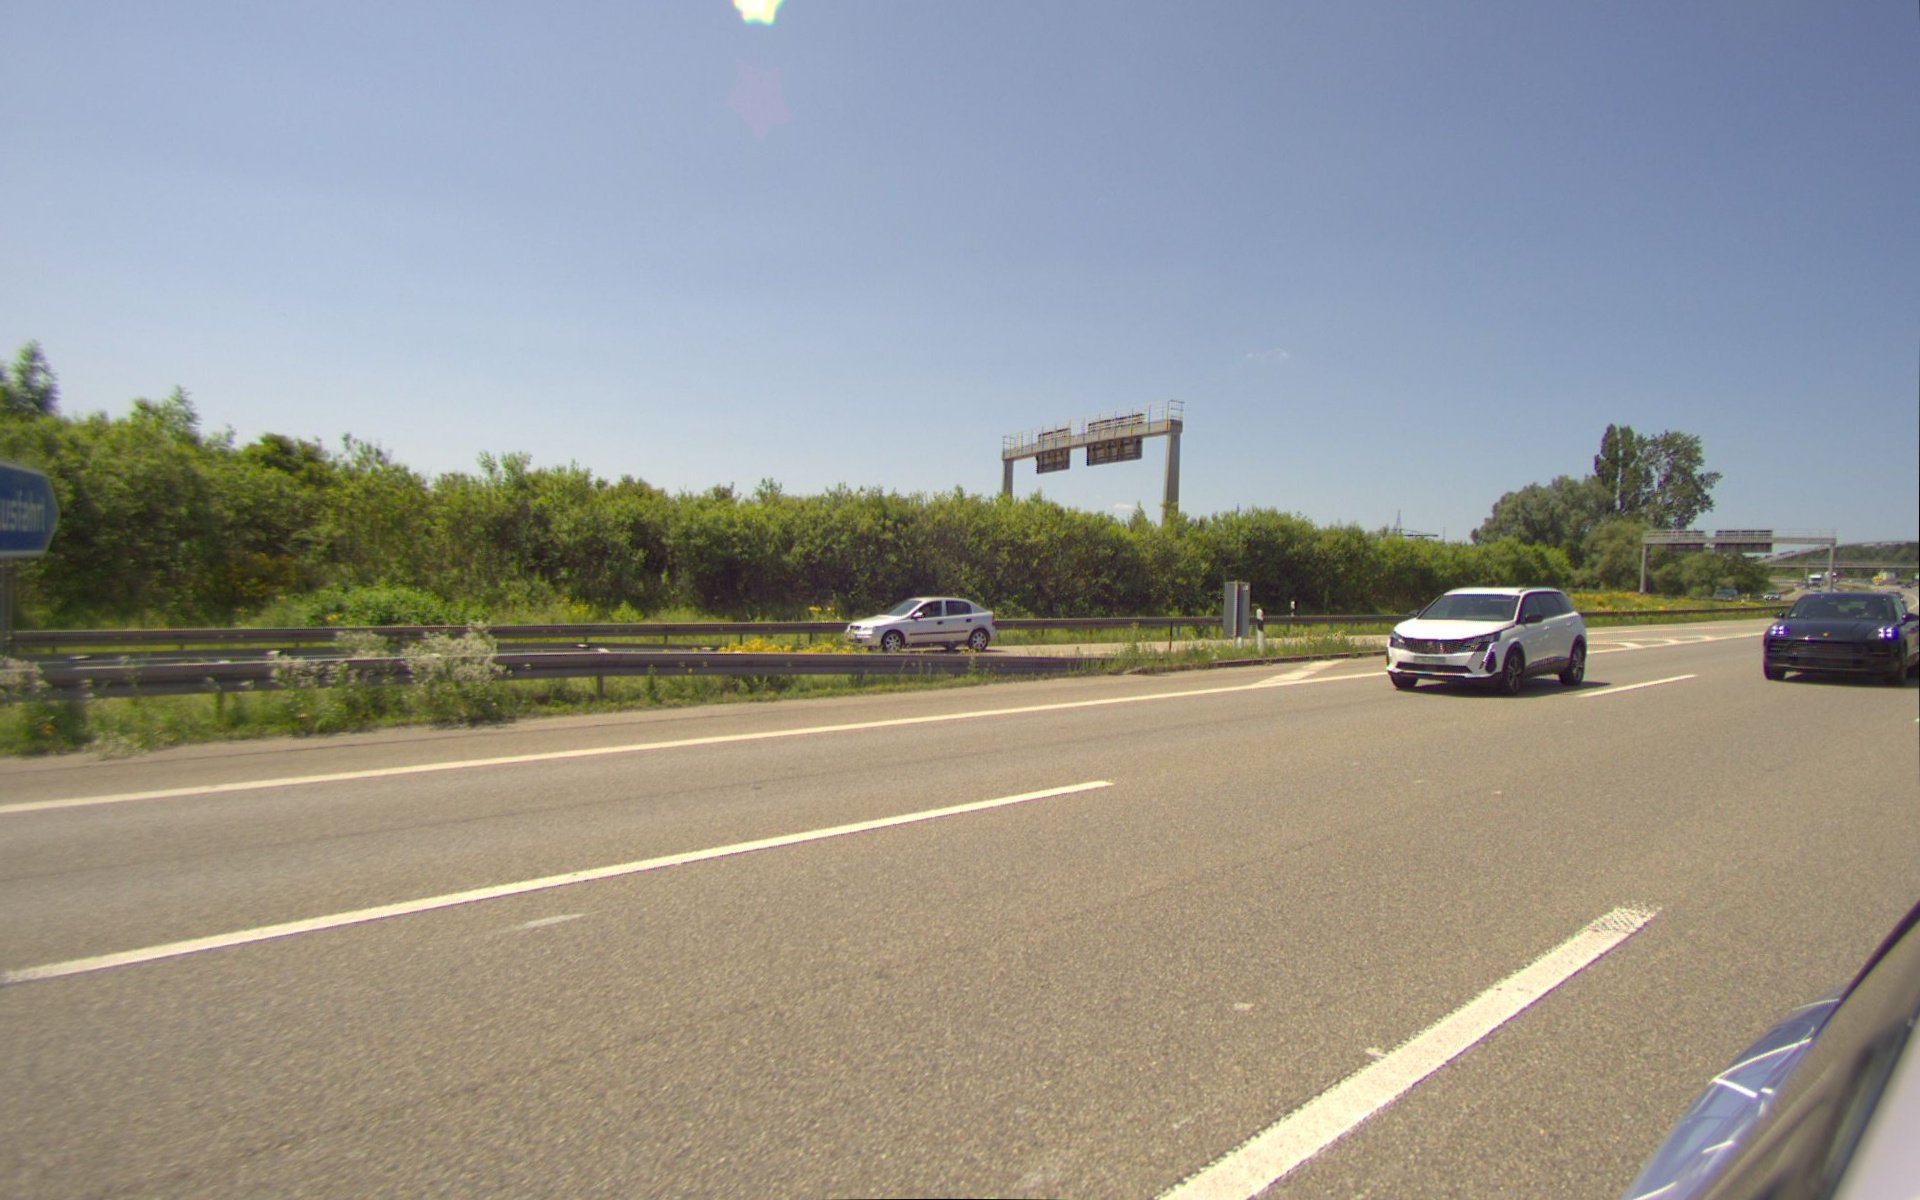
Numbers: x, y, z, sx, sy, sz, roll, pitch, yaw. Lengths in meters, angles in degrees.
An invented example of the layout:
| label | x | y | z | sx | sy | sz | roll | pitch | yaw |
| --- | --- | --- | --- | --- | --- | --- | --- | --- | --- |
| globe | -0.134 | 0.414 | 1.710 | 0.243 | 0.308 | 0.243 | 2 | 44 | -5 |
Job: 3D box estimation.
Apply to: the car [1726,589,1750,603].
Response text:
| label | x | y | z | sx | sy | sz | roll | pitch | yaw |
| --- | --- | --- | --- | --- | --- | --- | --- | --- | --- |
| car | 92.109 | -0.520 | 119.783 | 4.059 | 1.594 | 1.701 | -2 | 2 | -43 |

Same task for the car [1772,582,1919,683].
| label | x | y | z | sx | sy | sz | roll | pitch | yaw |
| --- | --- | --- | --- | --- | --- | --- | --- | --- | --- |
| car | 16.514 | 0.499 | 18.581 | 4.062 | 1.615 | 1.929 | -2 | 2 | -43 |

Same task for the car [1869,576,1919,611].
| label | x | y | z | sx | sy | sz | roll | pitch | yaw |
| --- | --- | --- | --- | --- | --- | --- | --- | --- | --- |
| car | 54.811 | -0.391 | 59.235 | 4.219 | 1.943 | 1.807 | -1 | 1 | -40 |

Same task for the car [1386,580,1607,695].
| label | x | y | z | sx | sy | sz | roll | pitch | yaw |
| --- | --- | --- | --- | --- | --- | --- | --- | --- | --- |
| car | 8.901 | 0.489 | 16.618 | 4.540 | 1.611 | 1.746 | -1 | 2 | -42 |

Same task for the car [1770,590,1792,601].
| label | x | y | z | sx | sy | sz | roll | pitch | yaw |
| --- | --- | --- | --- | --- | --- | --- | --- | --- | --- |
| car | 119.804 | -0.685 | 147.674 | 4.054 | 1.594 | 1.703 | -1 | 1 | -39 |

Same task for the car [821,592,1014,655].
| label | x | y | z | sx | sy | sz | roll | pitch | yaw |
| --- | --- | --- | --- | --- | --- | --- | --- | --- | --- |
| car | -1.073 | 0.553 | 26.378 | 4.750 | 1.455 | 1.794 | -1 | 1 | -30 |
